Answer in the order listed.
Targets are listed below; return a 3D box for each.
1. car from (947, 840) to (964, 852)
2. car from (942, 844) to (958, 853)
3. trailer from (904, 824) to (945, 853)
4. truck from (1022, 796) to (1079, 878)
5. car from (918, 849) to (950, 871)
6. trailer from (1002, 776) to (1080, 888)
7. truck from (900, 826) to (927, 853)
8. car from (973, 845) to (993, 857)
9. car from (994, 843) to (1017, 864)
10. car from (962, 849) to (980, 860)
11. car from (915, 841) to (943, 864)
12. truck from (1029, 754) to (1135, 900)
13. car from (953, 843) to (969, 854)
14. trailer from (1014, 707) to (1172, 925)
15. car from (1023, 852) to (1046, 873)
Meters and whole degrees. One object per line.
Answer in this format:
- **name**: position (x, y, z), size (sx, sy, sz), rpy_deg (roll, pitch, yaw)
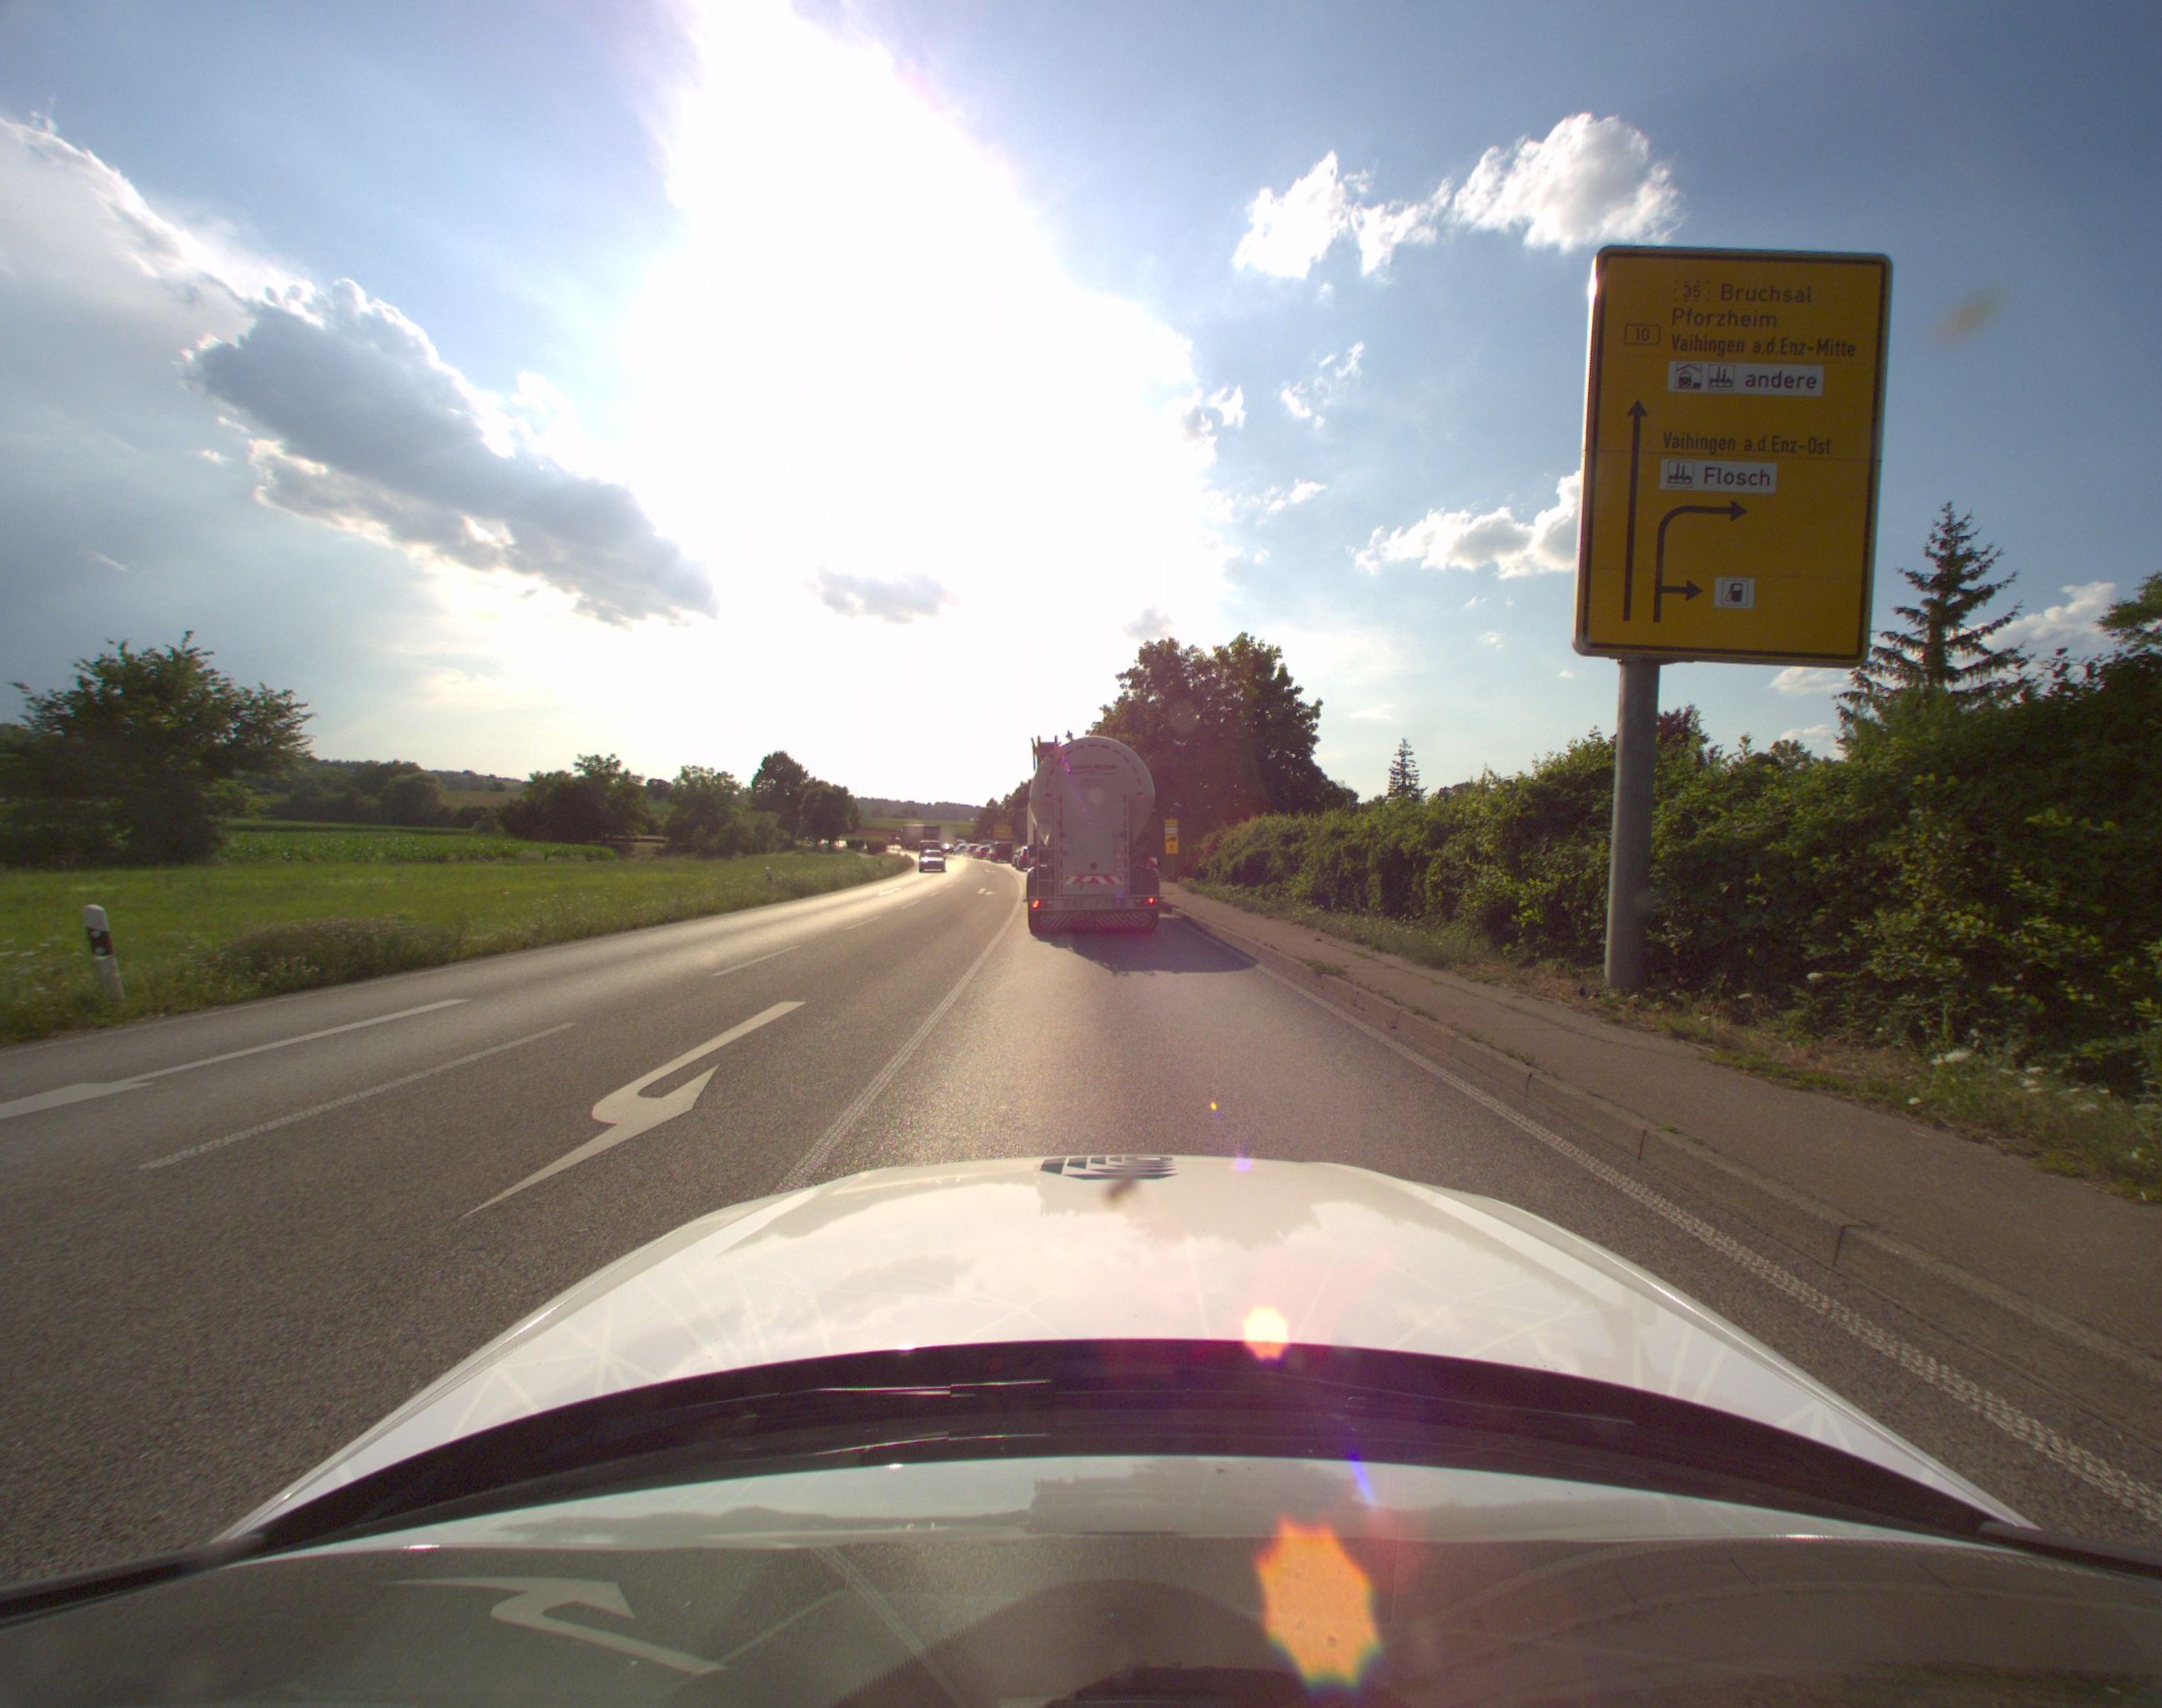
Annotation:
- **car**: position (-21.903, -1.338, 141.772), size (2.003, 2.013, 3.968), rpy_deg (0, 1, -24)
- **car**: position (-18.377, -0.721, 114.181), size (1.774, 1.206, 3.405), rpy_deg (1, 0, -18)
- **trailer**: position (-25.442, -2.402, 131.706), size (3.391, 4.350, 14.181), rpy_deg (1, 0, -24)
- **truck**: position (-1.650, -0.921, 45.640), size (2.942, 4.303, 4.929), rpy_deg (1, 0, -1)
- **car**: position (-9.891, 0.410, 55.114), size (1.703, 1.428, 4.172), rpy_deg (0, 0, -4)
- **trailer**: position (-1.614, -0.884, 38.785), size (2.946, 4.315, 14.171), rpy_deg (1, 0, 0)
- **truck**: position (-28.591, -2.478, 138.908), size (3.391, 4.350, 5.661), rpy_deg (1, 0, -24)
- **car**: position (-11.296, -0.315, 93.844), size (1.584, 1.340, 3.405), rpy_deg (1, 0, -18)
- **car**: position (-7.347, -0.083, 79.513), size (1.863, 2.013, 3.705), rpy_deg (0, 0, -11)
- **car**: position (-13.445, 0.032, 99.824), size (1.584, 1.340, 3.405), rpy_deg (1, 0, -18)
- **car**: position (-14.792, -0.130, 79.104), size (2.005, 2.136, 4.747), rpy_deg (0, 0, -20)
- **truck**: position (-0.002, -0.761, 24.473), size (2.901, 4.006, 4.057), rpy_deg (0, 0, -2)
- **car**: position (-15.902, -0.705, 107.791), size (1.584, 1.340, 3.405), rpy_deg (1, 0, -18)
- **trailer**: position (0.109, -0.716, 19.963), size (2.901, 4.006, 9.924), rpy_deg (0, 0, -1)
- **car**: position (-3.267, 0.564, 56.946), size (1.577, 1.340, 3.420), rpy_deg (1, 0, -4)
